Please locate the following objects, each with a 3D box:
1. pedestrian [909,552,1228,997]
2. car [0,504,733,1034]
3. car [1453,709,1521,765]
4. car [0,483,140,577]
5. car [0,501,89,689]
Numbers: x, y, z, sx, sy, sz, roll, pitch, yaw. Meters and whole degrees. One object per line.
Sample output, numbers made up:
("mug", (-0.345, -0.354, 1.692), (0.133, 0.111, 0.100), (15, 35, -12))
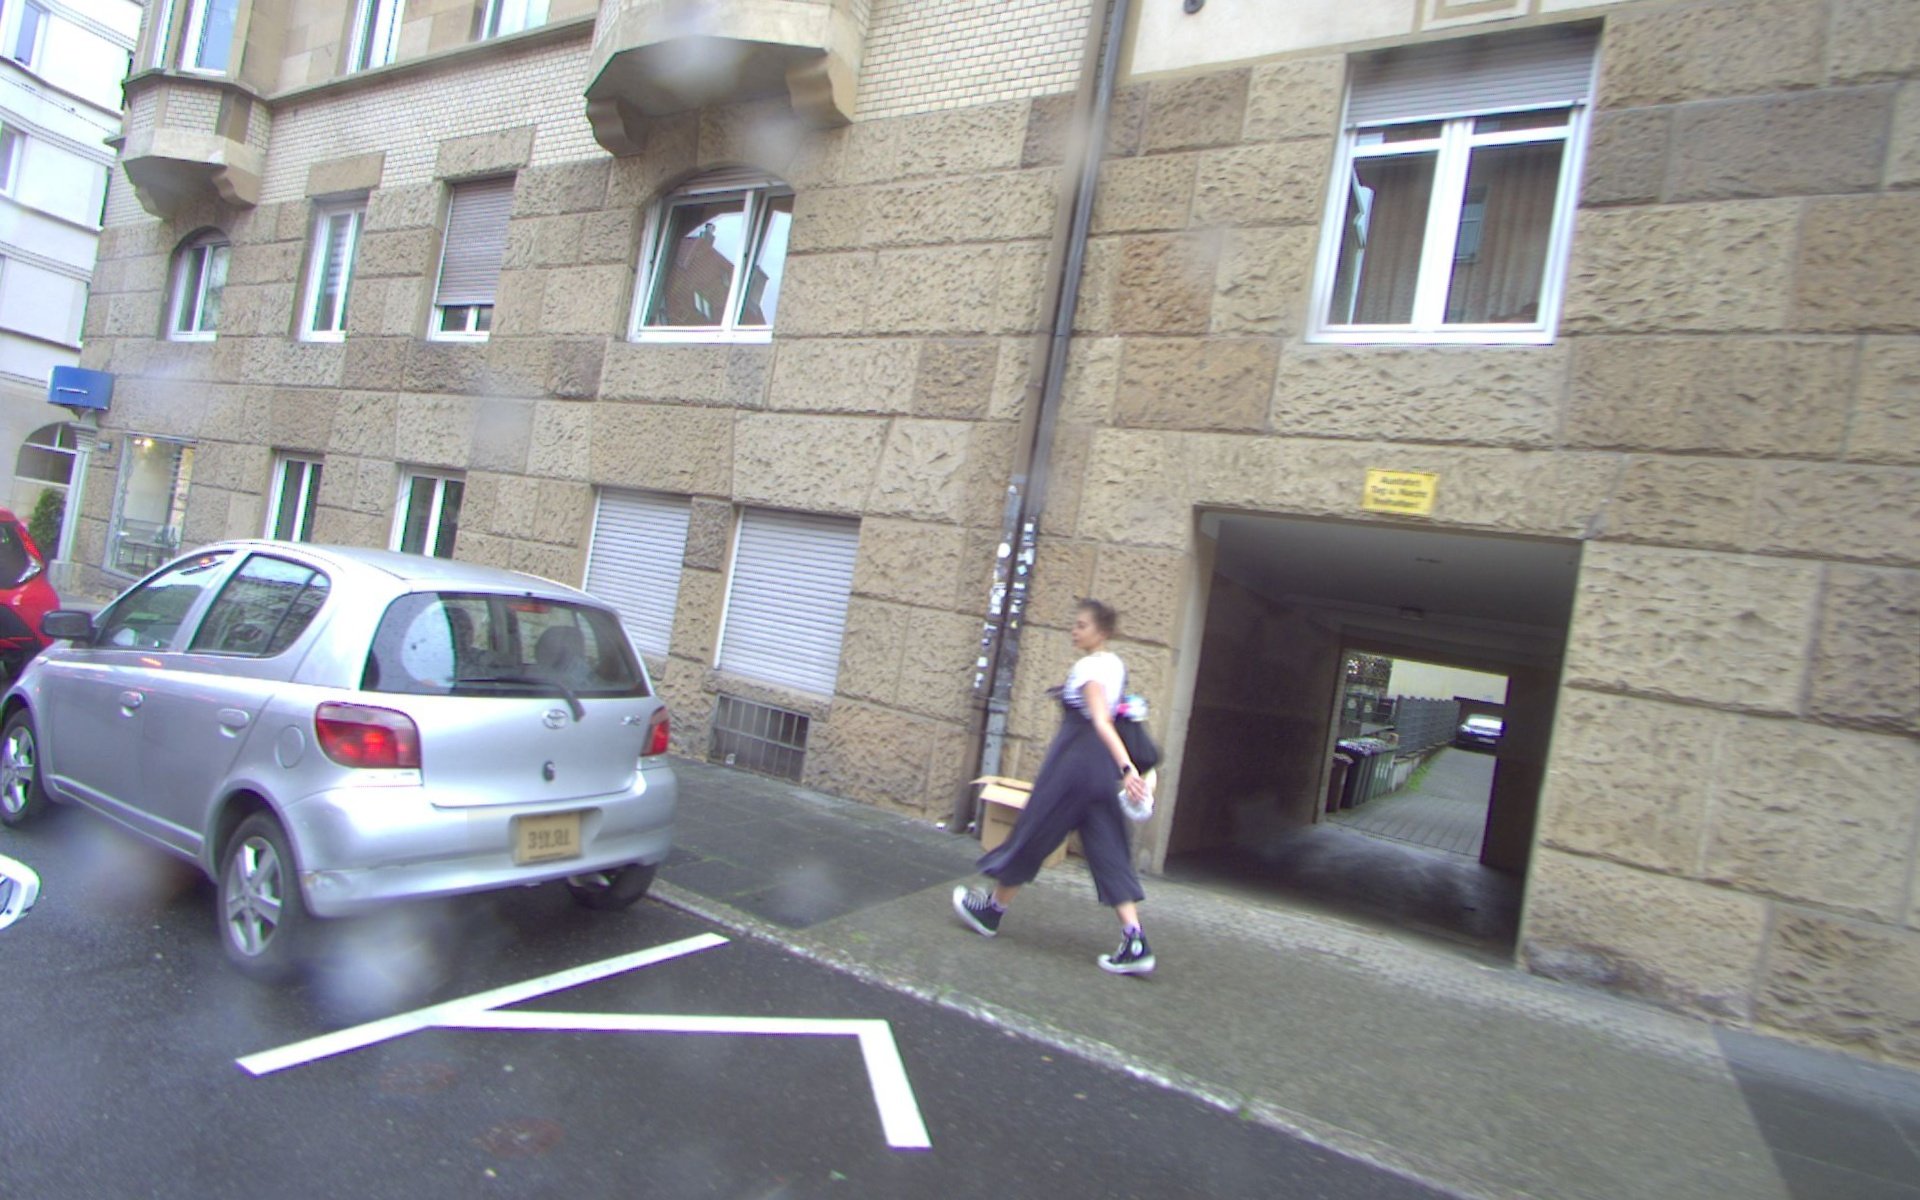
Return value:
("pedestrian", (0.519, 0.739, 4.742), (1.093, 1.768, 0.743), (6, -1, 32))
("car", (-2.875, 0.502, 4.648), (3.258, 1.485, 1.616), (7, 0, 33))
("car", (17.952, 4.632, 34.191), (1.693, 1.538, 4.102), (7, -3, 31))
("car", (-20.459, -1.631, 21.881), (1.526, 1.654, 3.676), (7, -2, 37))
("car", (-9.124, -0.242, 8.425), (3.243, 1.464, 1.646), (7, -2, 29))
